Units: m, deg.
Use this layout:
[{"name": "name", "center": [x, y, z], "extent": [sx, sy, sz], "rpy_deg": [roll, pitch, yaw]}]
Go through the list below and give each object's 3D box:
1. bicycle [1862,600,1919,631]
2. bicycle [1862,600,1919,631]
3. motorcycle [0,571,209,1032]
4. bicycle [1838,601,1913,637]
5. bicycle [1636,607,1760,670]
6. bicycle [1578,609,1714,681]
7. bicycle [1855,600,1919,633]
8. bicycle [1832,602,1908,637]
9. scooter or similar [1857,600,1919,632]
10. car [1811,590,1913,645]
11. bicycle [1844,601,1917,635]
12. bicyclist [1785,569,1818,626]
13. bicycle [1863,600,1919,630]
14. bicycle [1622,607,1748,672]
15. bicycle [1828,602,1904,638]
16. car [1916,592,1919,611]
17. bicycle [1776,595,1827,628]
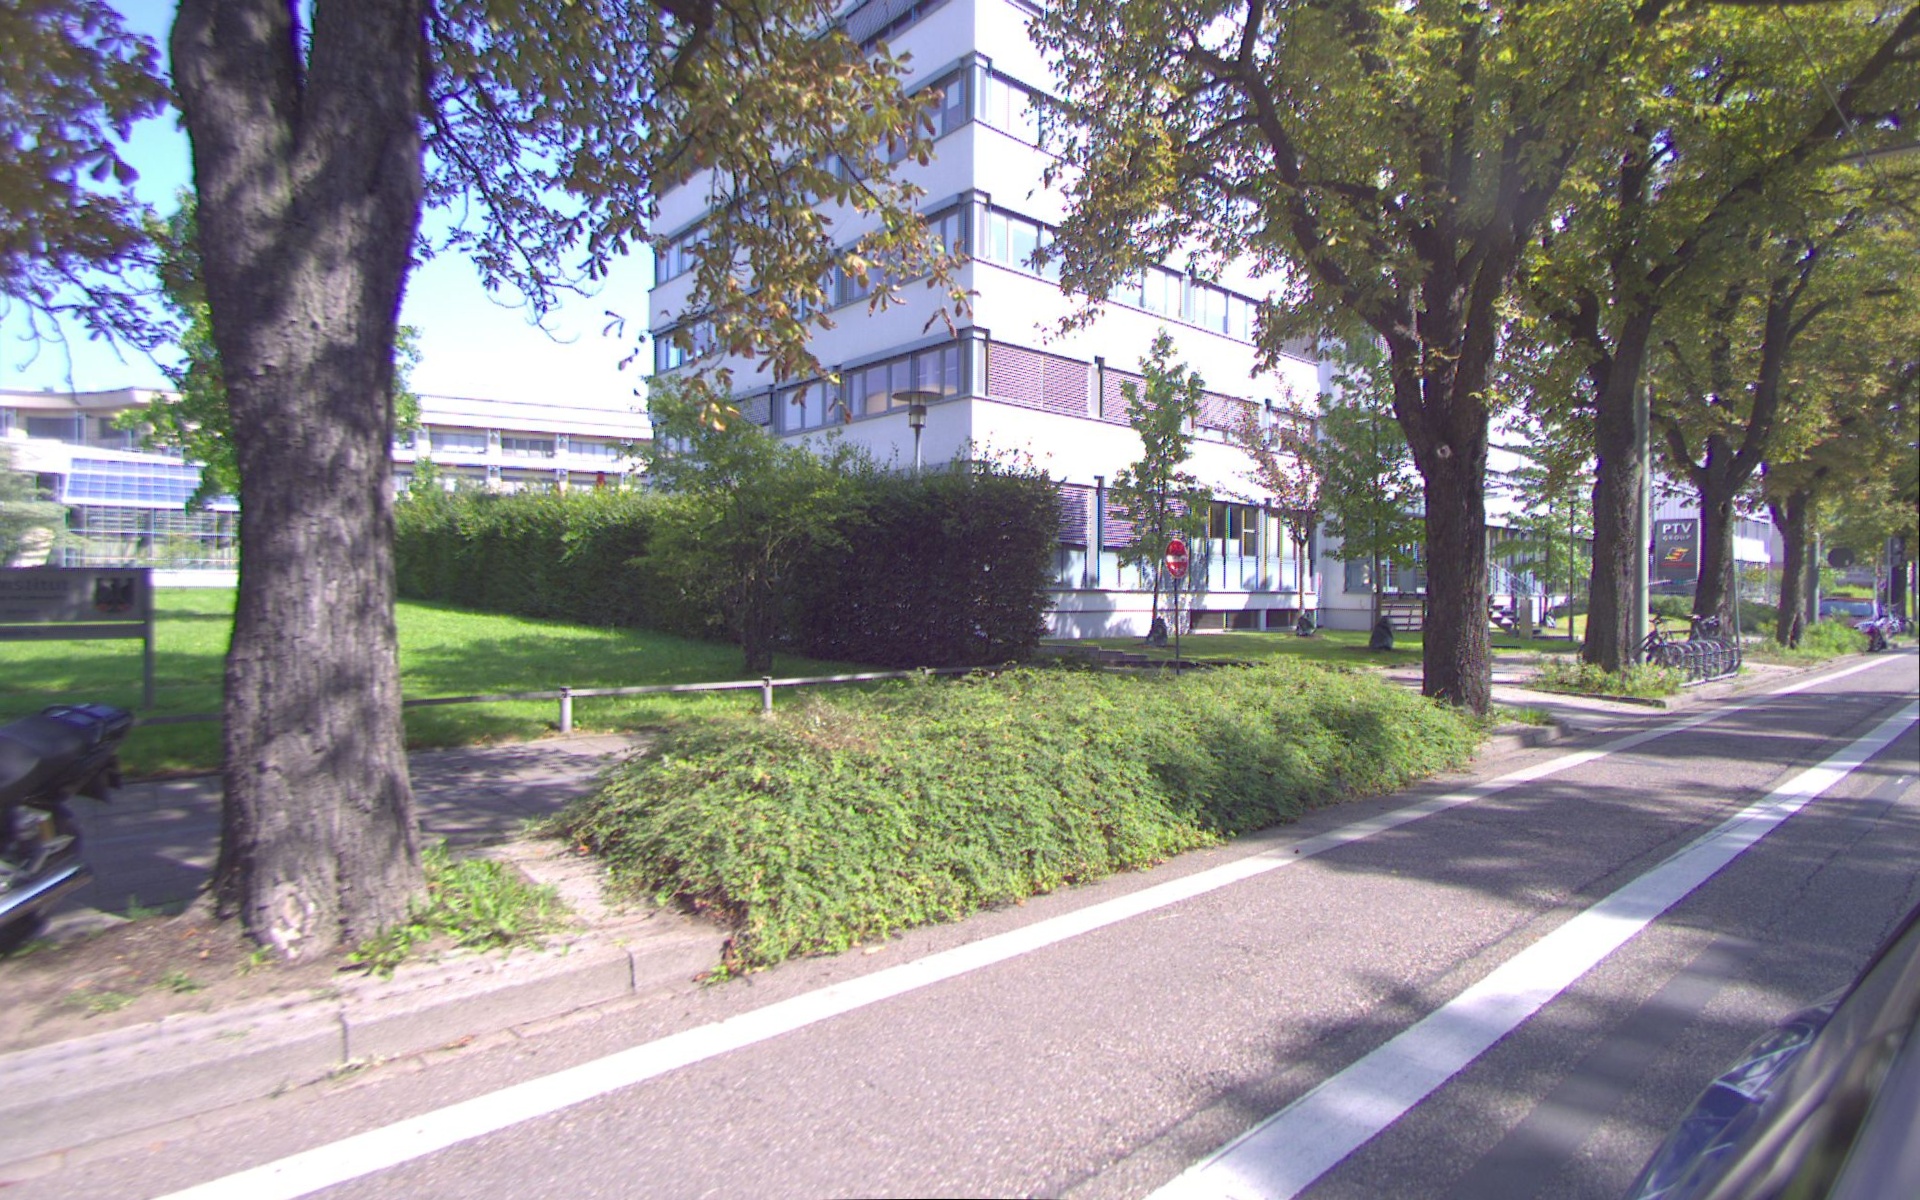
[{"name": "bicycle", "center": [34.470, 0.561, 37.316], "extent": [0.531, 1.085, 1.774], "rpy_deg": [0, 1, -41]}, {"name": "bicycle", "center": [34.867, 0.556, 37.726], "extent": [0.531, 1.085, 1.774], "rpy_deg": [0, 1, -41]}, {"name": "motorcycle", "center": [-3.604, 0.674, 3.134], "extent": [0.836, 1.535, 2.456], "rpy_deg": [0, 0, -3]}, {"name": "bicycle", "center": [30.195, 0.610, 33.388], "extent": [0.531, 1.085, 1.774], "rpy_deg": [0, 1, -41]}, {"name": "bicycle", "center": [13.616, 0.688, 18.722], "extent": [0.531, 1.063, 1.774], "rpy_deg": [0, 1, -41]}, {"name": "bicycle", "center": [11.278, 0.714, 16.683], "extent": [0.531, 1.063, 1.774], "rpy_deg": [0, 1, -41]}, {"name": "bicycle", "center": [32.888, 0.580, 35.809], "extent": [0.531, 1.085, 1.774], "rpy_deg": [0, 1, -41]}, {"name": "bicycle", "center": [29.566, 0.617, 32.897], "extent": [0.531, 1.085, 1.774], "rpy_deg": [0, 1, -41]}, {"name": "scooter or similar", "center": [33.307, 0.575, 36.207], "extent": [0.531, 1.085, 1.774], "rpy_deg": [0, 1, -41]}, {"name": "car", "center": [26.725, 0.464, 29.954], "extent": [4.200, 1.480, 1.759], "rpy_deg": [0, 1, -41]}, {"name": "bicycle", "center": [31.005, 0.601, 34.106], "extent": [0.531, 1.085, 1.774], "rpy_deg": [0, 1, -41]}, {"name": "bicyclist", "center": [30.621, -0.086, 36.837], "extent": [1.253, 2.039, 0.781], "rpy_deg": [0, 0, -43]}, {"name": "bicycle", "center": [34.890, 0.556, 37.733], "extent": [0.531, 1.085, 1.774], "rpy_deg": [0, 1, -41]}, {"name": "bicycle", "center": [13.089, 0.693, 18.314], "extent": [0.531, 1.063, 1.774], "rpy_deg": [0, 1, -41]}, {"name": "bicycle", "center": [29.052, 0.623, 32.478], "extent": [0.531, 1.085, 1.774], "rpy_deg": [0, 1, -41]}, {"name": "car", "center": [81.152, 0.147, 82.552], "extent": [4.540, 1.534, 1.930], "rpy_deg": [0, 0, 45]}, {"name": "bicycle", "center": [30.689, 0.387, 36.899], "extent": [2.494, 1.139, 1.136], "rpy_deg": [-1, 0, -44]}]
